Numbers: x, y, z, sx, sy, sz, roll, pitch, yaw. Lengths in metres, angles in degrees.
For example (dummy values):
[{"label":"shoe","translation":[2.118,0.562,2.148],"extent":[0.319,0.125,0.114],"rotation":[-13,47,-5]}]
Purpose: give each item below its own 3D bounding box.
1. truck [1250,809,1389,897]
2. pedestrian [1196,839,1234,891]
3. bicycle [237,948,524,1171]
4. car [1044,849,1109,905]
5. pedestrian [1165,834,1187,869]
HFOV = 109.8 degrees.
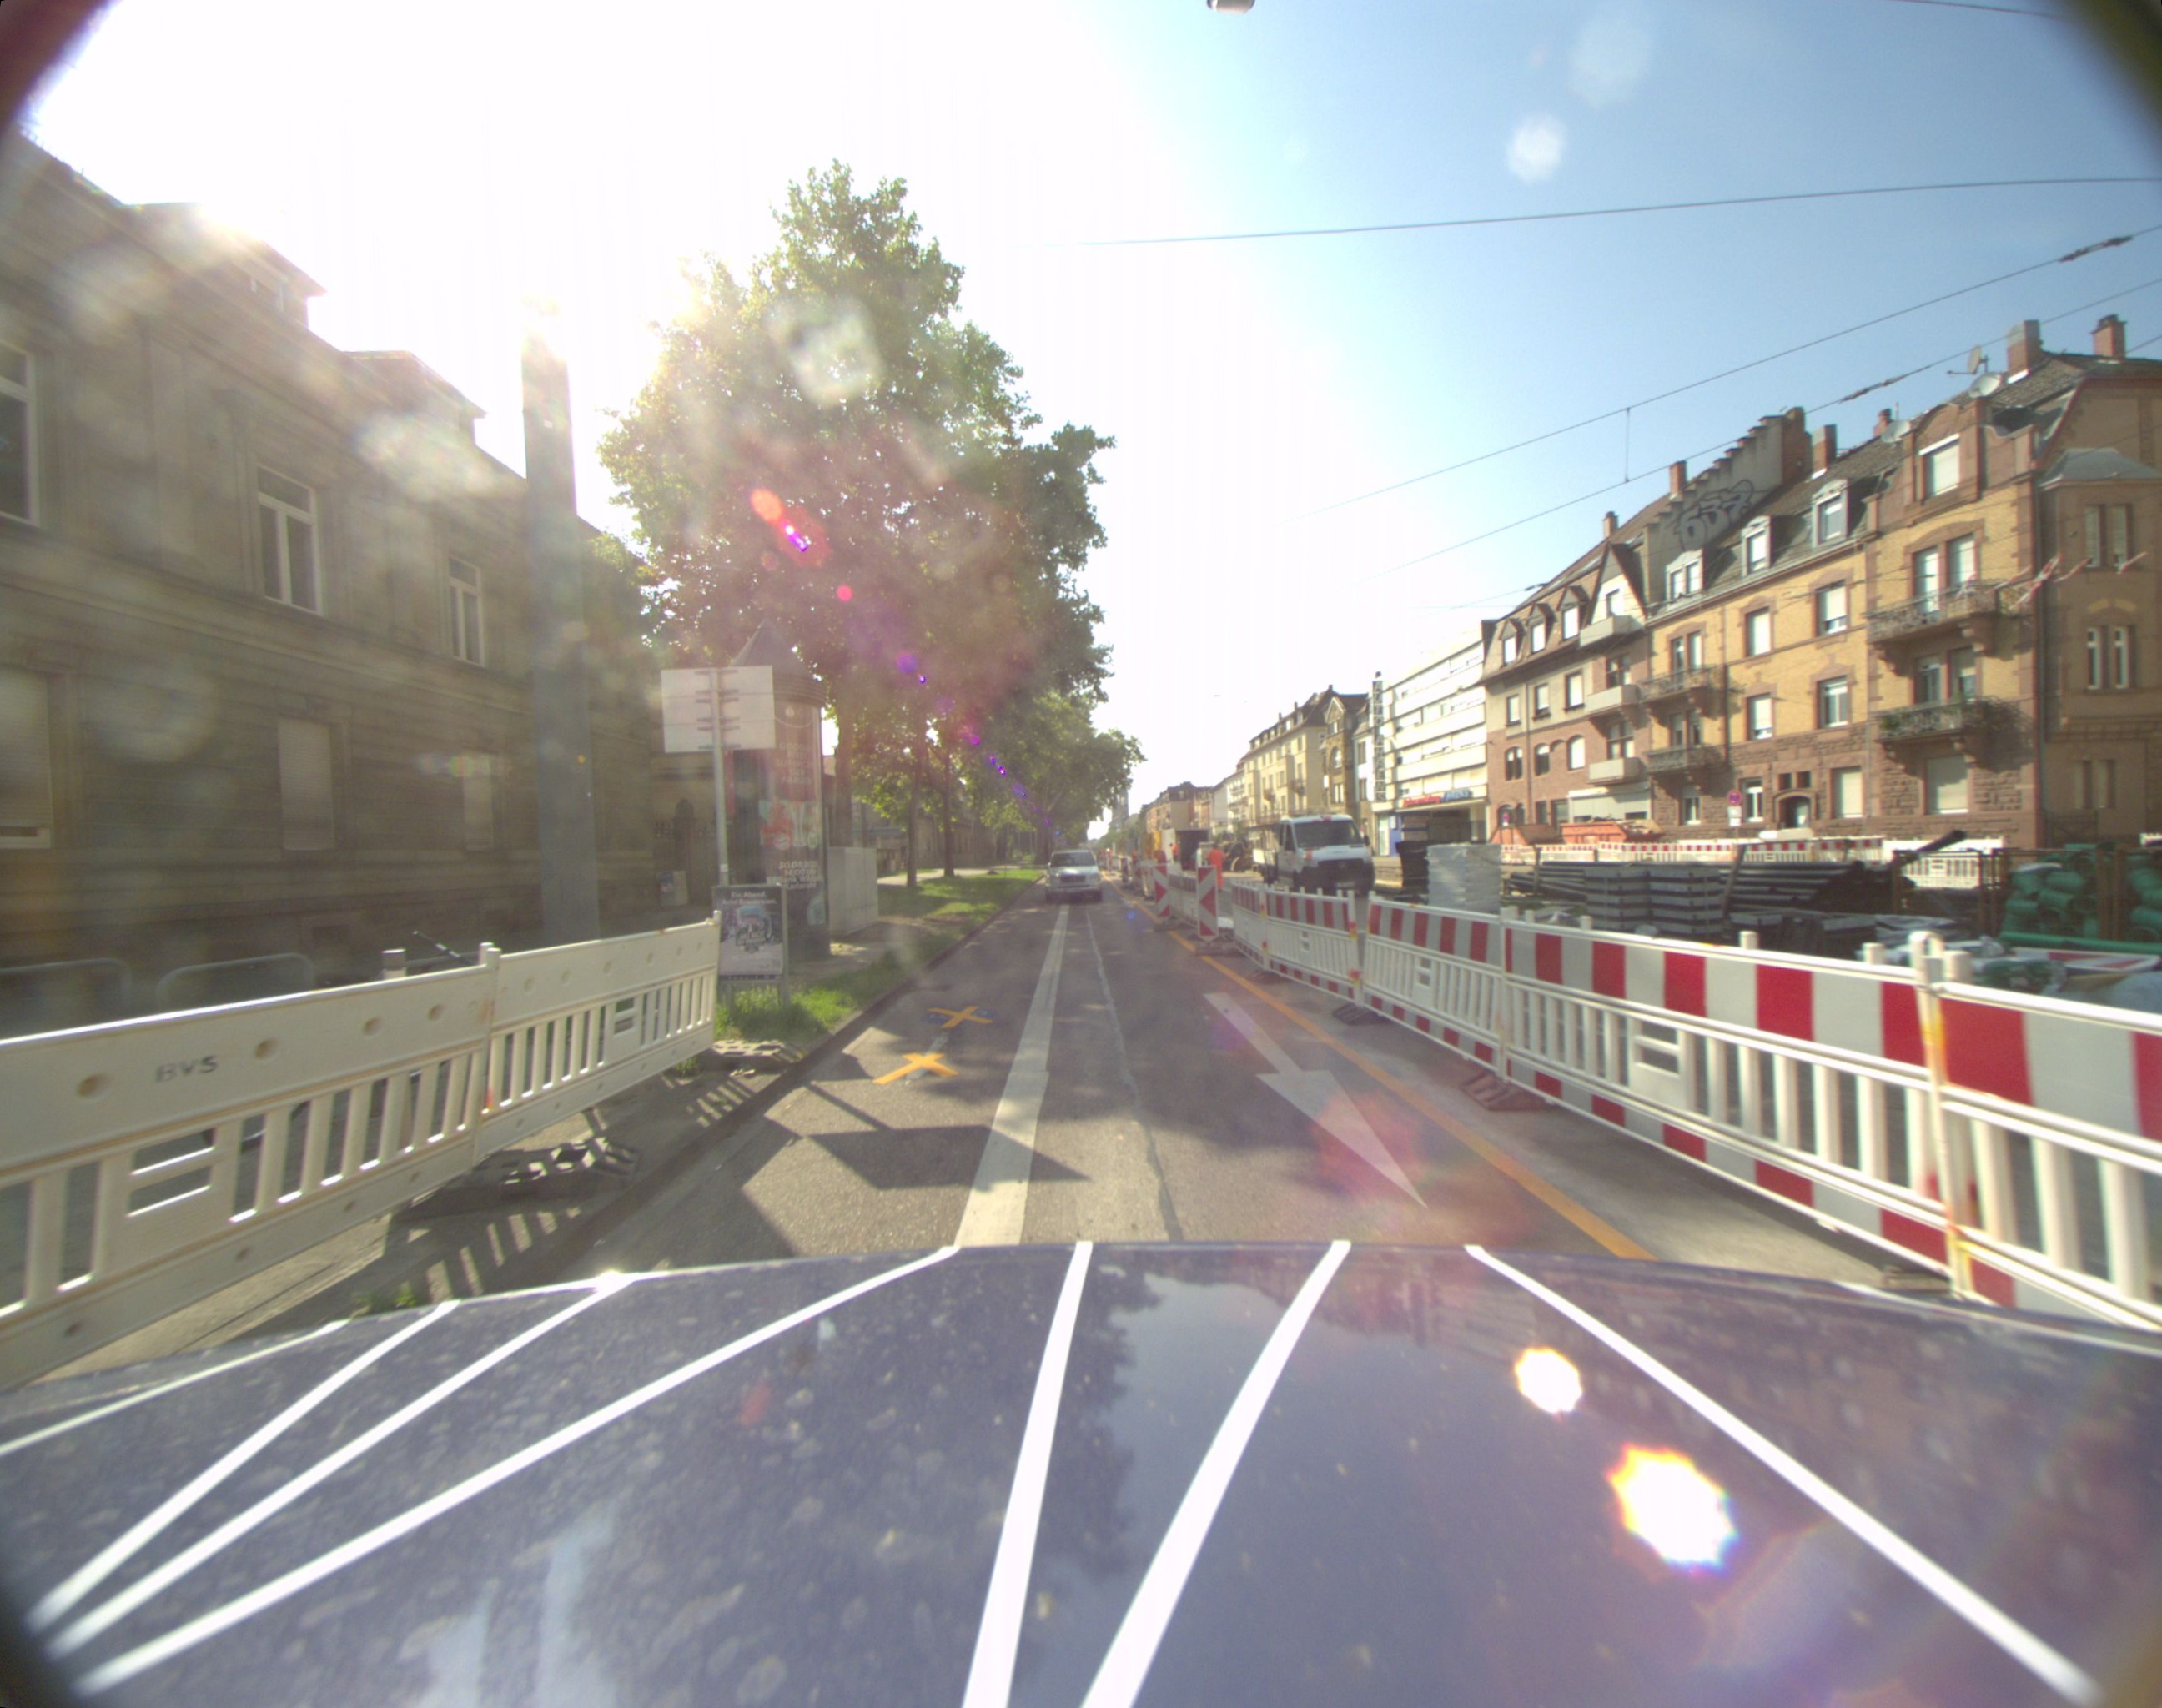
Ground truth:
[{"label":"truck","translation":[6.889,-0.068,22.951],"extent":[2.163,2.209,7.050],"rotation":[-1,1,2]},{"label":"pedestrian","translation":[4.533,0.353,25.780],"extent":[1.034,1.700,1.095],"rotation":[-2,1,-2]},{"label":"bicycle","translation":[-4.160,1.160,4.657],"extent":[0.411,0.981,1.376],"rotation":[-2,1,2]},{"label":"car","translation":[-0.156,0.706,26.678],"extent":[1.999,1.686,5.224],"rotation":[-2,1,0]},{"label":"pedestrian","translation":[5.688,-0.140,45.364],"extent":[0.909,2.002,0.913],"rotation":[-3,2,26]}]
